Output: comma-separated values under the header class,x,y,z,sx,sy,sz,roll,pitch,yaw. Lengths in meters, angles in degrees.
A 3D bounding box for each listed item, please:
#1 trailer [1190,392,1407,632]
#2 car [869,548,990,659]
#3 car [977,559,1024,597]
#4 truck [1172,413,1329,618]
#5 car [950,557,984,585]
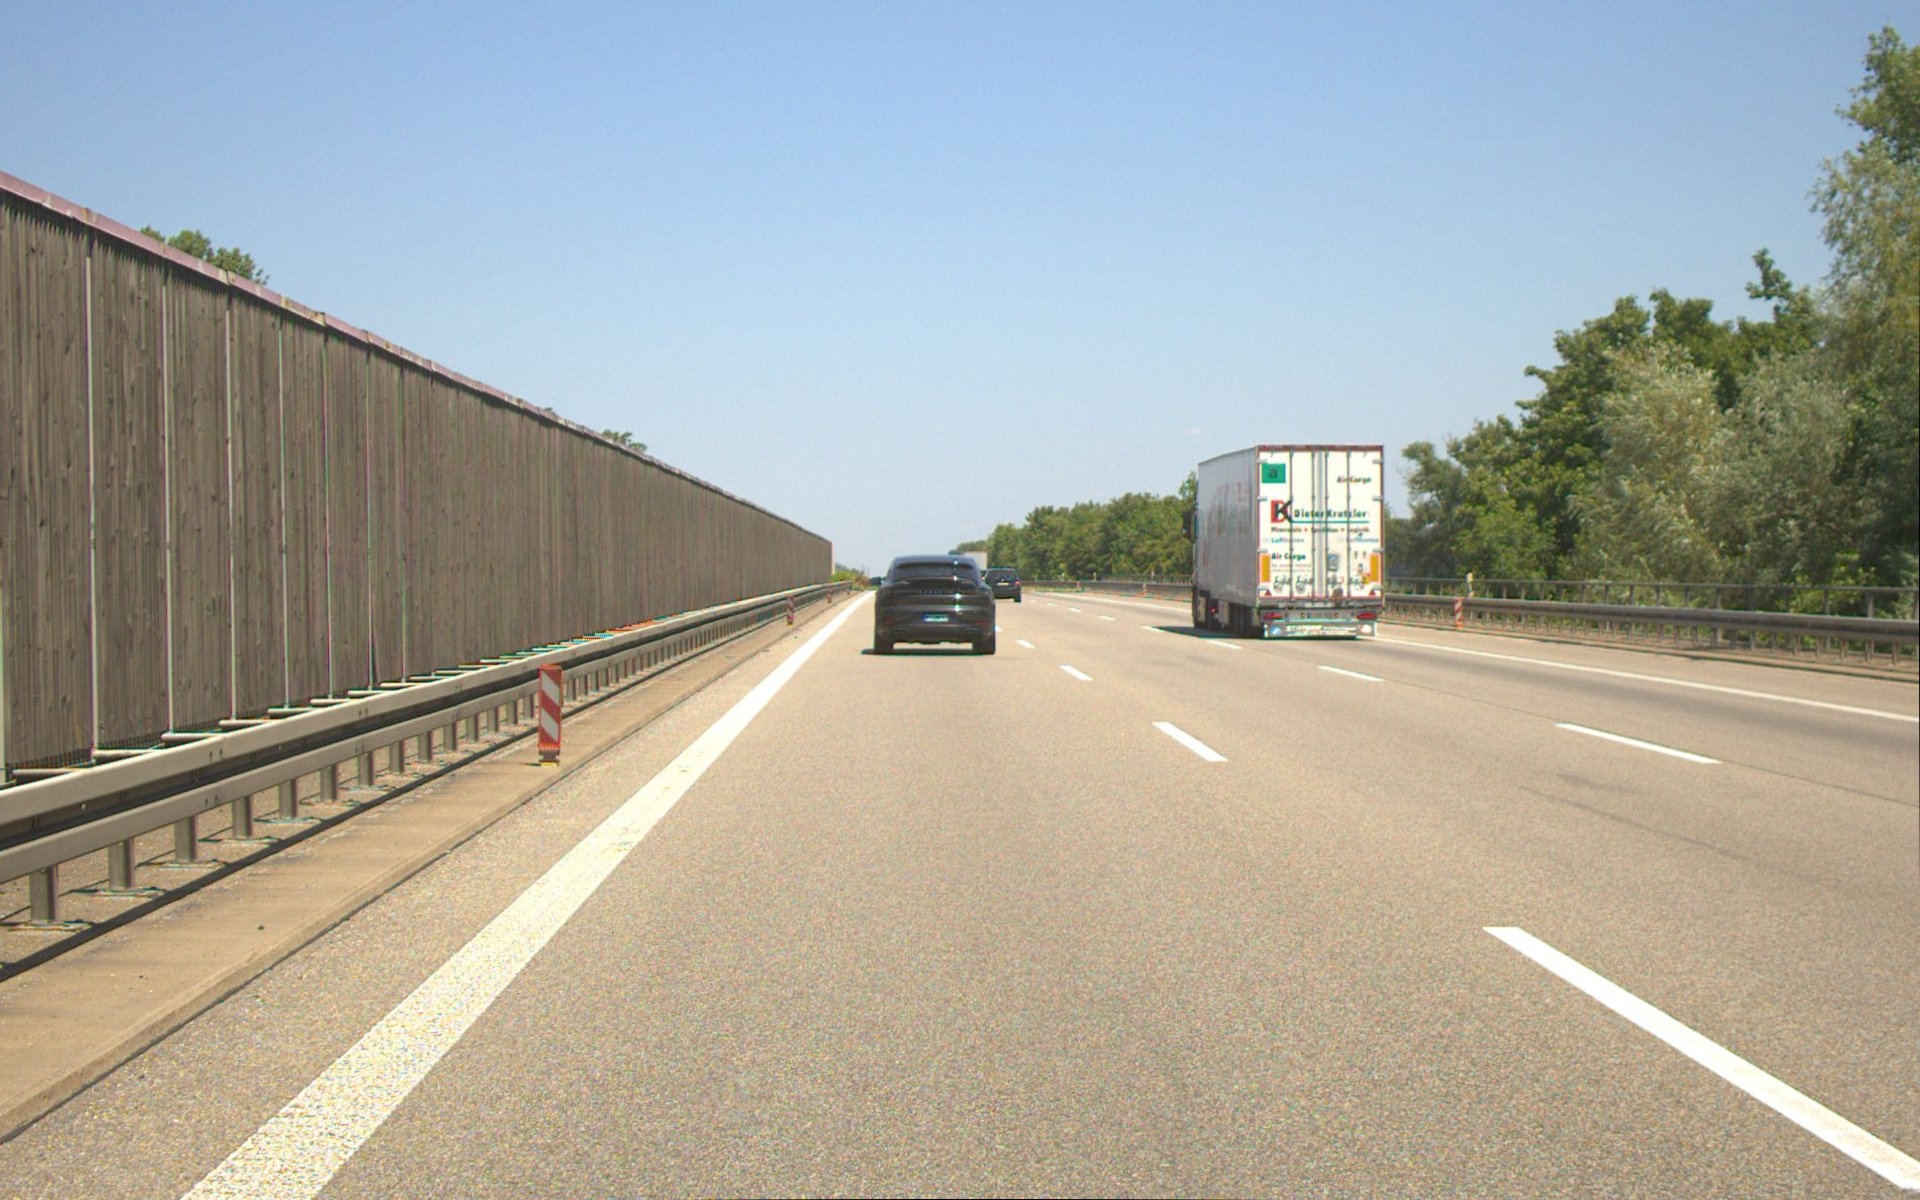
class,x,y,z,sx,sy,sz,roll,pitch,yaw
trailer,7.276,-1.866,76.162,3.269,4.821,14.030,0,1,-1
car,-0.542,0.024,57.509,1.880,1.786,4.001,0,1,-2
car,1.727,-0.942,149.199,1.903,1.578,4.304,-1,0,-1
truck,7.150,-2.067,85.586,3.234,4.872,6.972,0,1,-1
car,0.371,-1.670,200.656,1.903,1.578,4.304,-1,0,-1
